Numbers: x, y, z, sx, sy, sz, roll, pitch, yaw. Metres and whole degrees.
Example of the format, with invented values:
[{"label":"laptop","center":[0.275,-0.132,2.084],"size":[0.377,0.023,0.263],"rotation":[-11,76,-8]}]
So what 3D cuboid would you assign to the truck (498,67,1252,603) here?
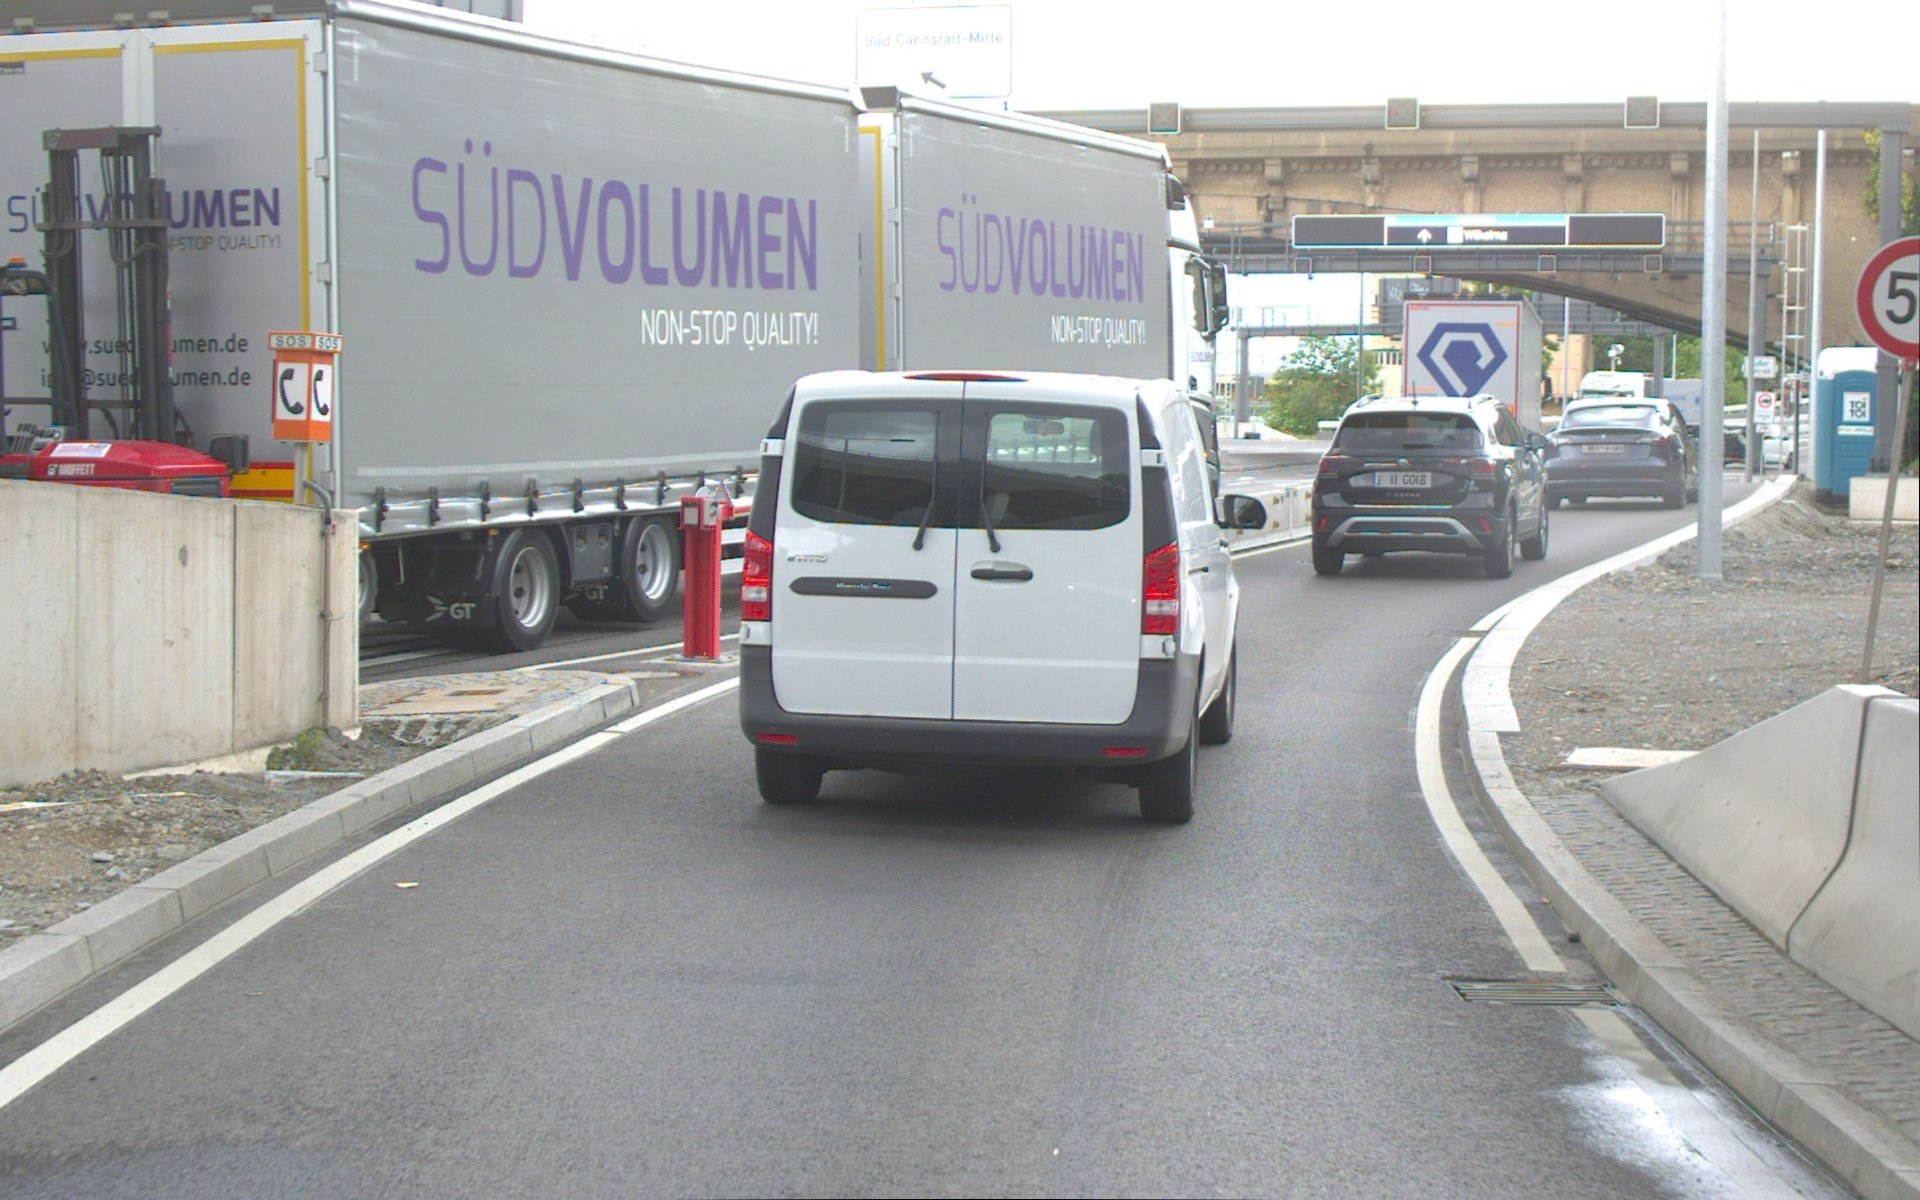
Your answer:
[{"label":"truck","center":[-0.312,-2.577,32.499],"size":[2.991,4.160,11.231],"rotation":[3,6,21]}]

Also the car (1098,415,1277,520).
[{"label":"car","center":[3.756,-2.145,56.223],"size":[1.995,1.546,3.997],"rotation":[2,1,17]}]

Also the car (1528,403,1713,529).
[{"label":"car","center":[8.576,-1.712,44.465],"size":[1.503,1.464,3.394],"rotation":[2,1,25]}]

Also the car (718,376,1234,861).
[{"label":"car","center":[0.239,-0.075,15.937],"size":[1.876,1.884,4.753],"rotation":[1,4,6]}]

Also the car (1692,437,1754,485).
[{"label":"car","center":[32.014,-5.820,144.129],"size":[1.900,1.802,4.480],"rotation":[3,1,20]}]

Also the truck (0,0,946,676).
[{"label":"truck","center":[-3.368,-1.939,24.421],"size":[2.921,4.002,10.191],"rotation":[3,4,21]}]

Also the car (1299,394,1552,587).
[{"label":"car","center":[4.274,-1.027,31.127],"size":[1.751,1.619,3.842],"rotation":[1,3,15]}]

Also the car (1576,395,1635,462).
[{"label":"car","center":[22.620,-5.993,120.601],"size":[1.899,2.108,4.483],"rotation":[3,1,10]}]

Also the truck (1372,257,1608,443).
[{"label":"truck","center":[12.674,-5.699,80.577],"size":[3.319,3.796,16.583],"rotation":[4,4,15]}]
